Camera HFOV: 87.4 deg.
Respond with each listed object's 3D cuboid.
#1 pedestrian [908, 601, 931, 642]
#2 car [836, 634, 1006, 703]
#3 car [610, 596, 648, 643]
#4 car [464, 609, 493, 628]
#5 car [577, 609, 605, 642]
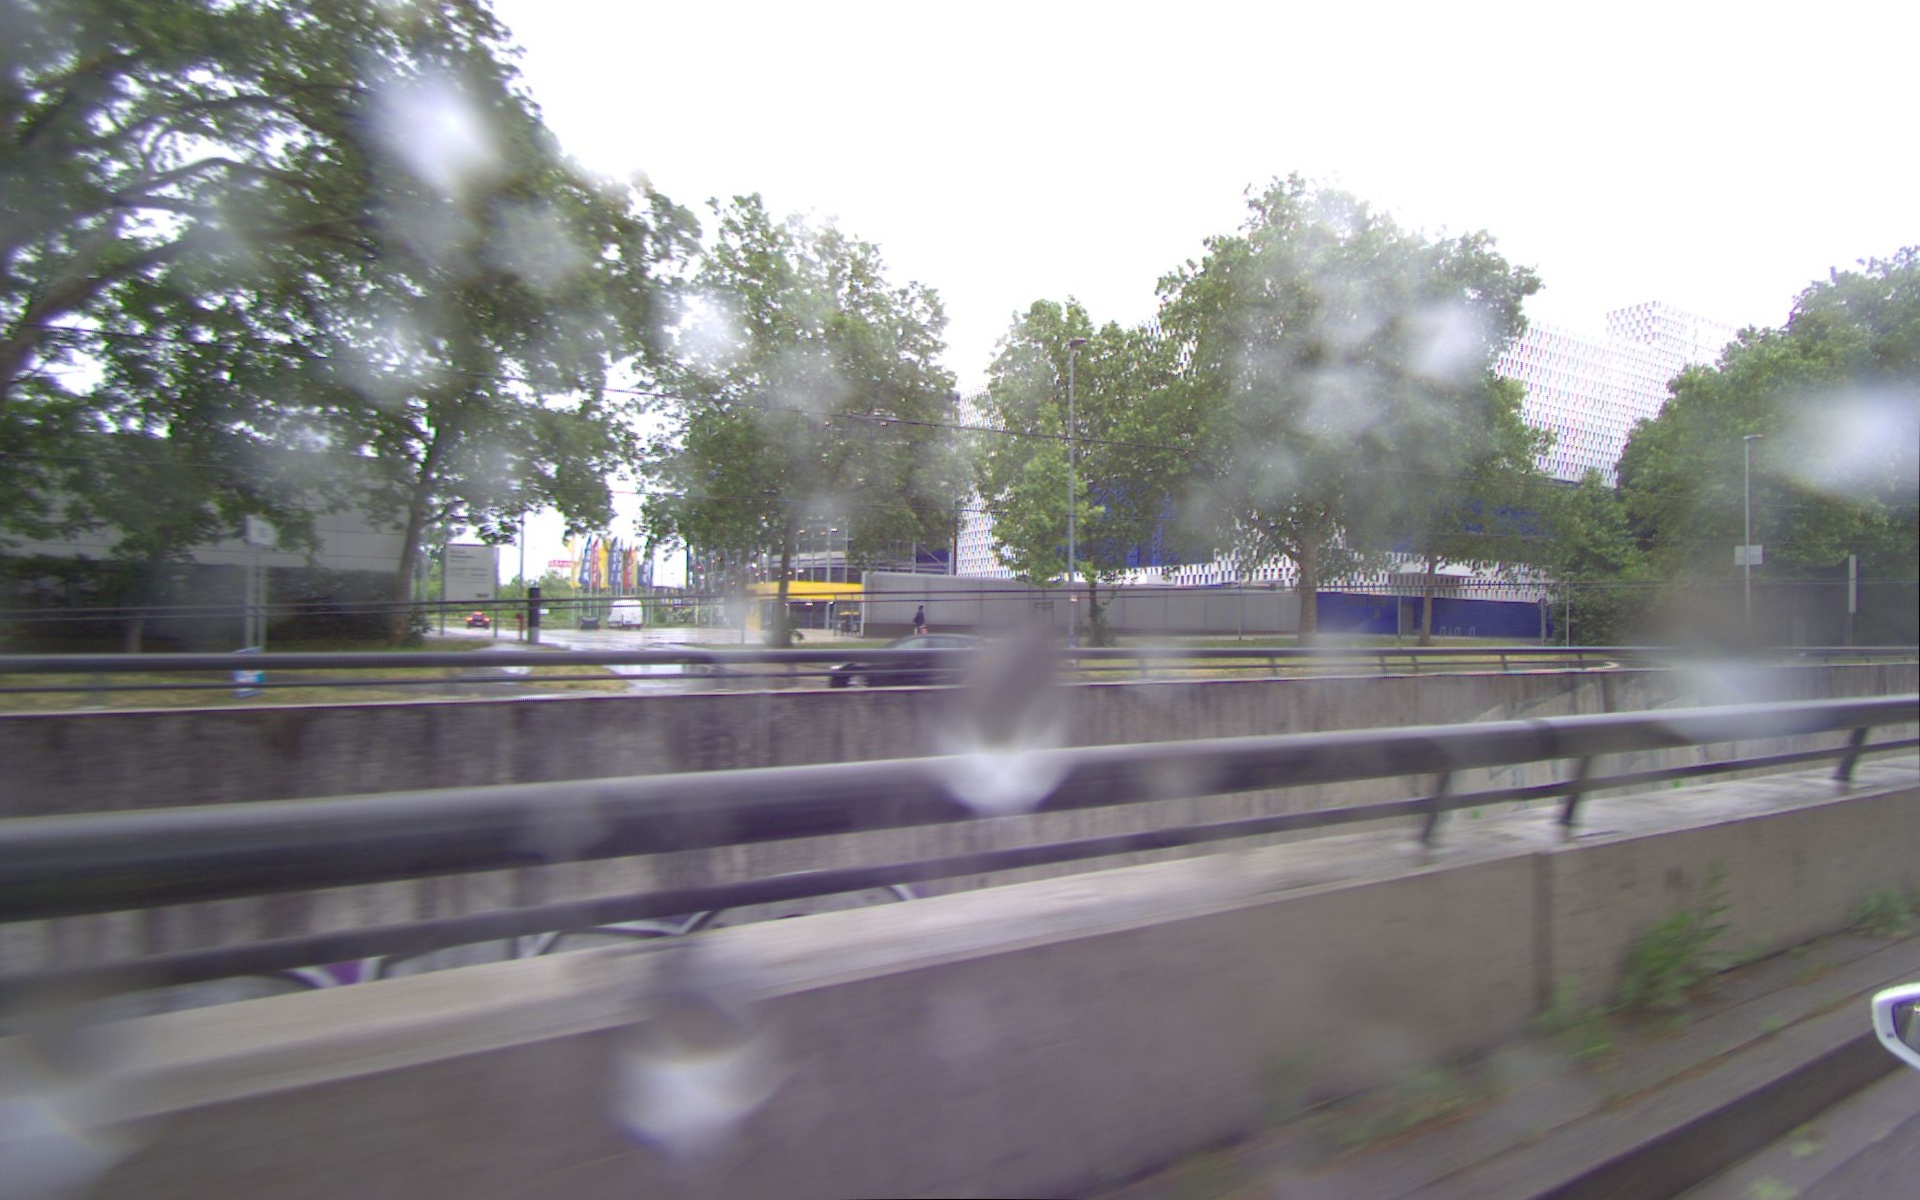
[{"bbox_3d":[-2.072,1.109,51.426,0.780,2.040,0.997,1,1,-28],"label":"pedestrian"},{"bbox_3d":[-0.853,1.535,23.052,3.719,1.422,2.000,1,-1,0],"label":"car"},{"bbox_3d":[-30.558,1.757,92.709,2.188,4.160,5.311,1,-1,-31],"label":"car"},{"bbox_3d":[-42.724,1.601,89.176,1.971,1.639,3.980,1,-1,-22],"label":"car"},{"bbox_3d":[-33.793,2.304,91.909,2.183,2.863,3.977,1,-1,-24],"label":"car"}]
